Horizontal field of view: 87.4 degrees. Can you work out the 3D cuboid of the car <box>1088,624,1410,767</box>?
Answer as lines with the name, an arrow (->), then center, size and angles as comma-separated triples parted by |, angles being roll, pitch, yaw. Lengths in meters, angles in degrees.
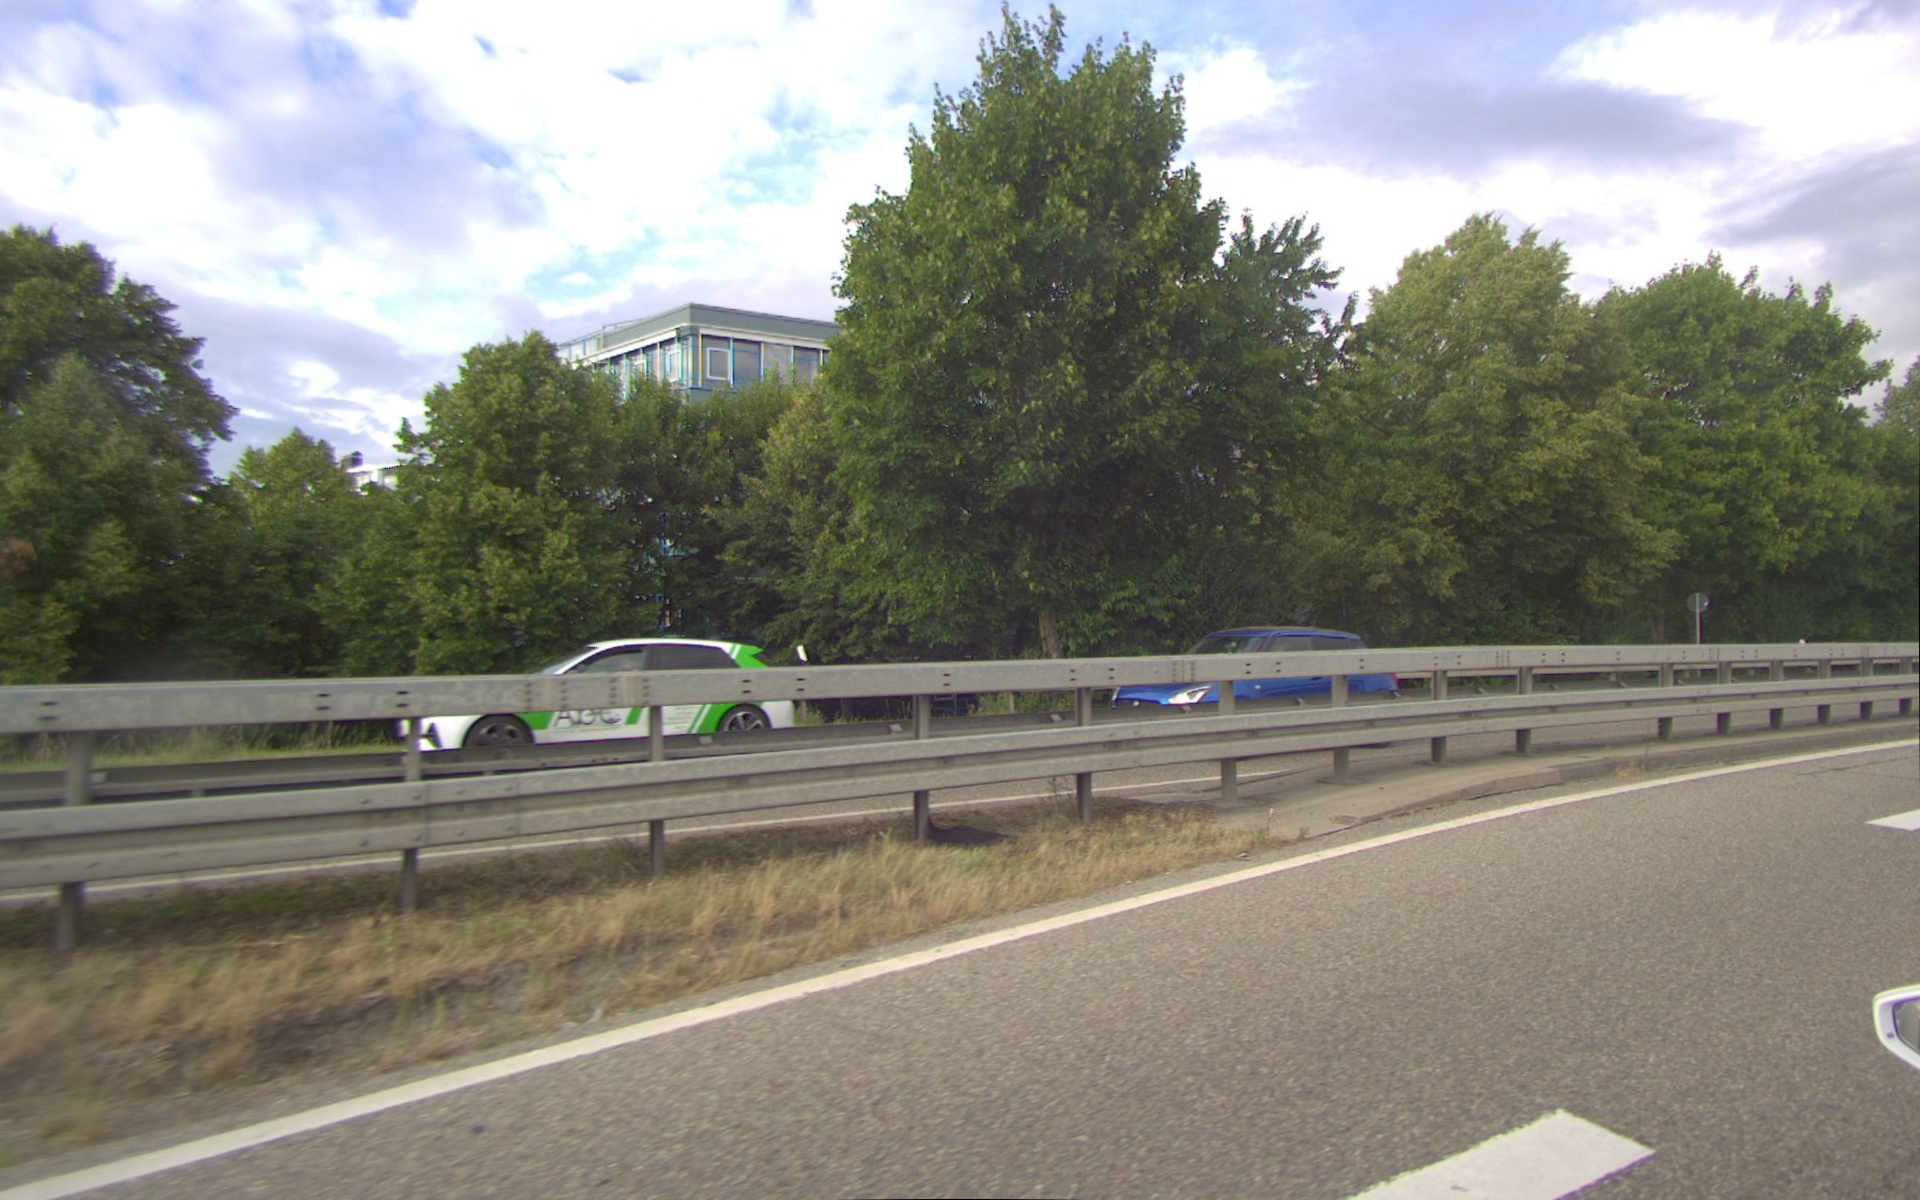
car -> 3.568, 1.046, 12.311 | 3.668, 1.487, 1.760 | 0, -1, -30

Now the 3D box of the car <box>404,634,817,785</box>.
car -> -4.071, 1.155, 11.911 | 4.406, 1.432, 1.751 | 0, -1, -30
